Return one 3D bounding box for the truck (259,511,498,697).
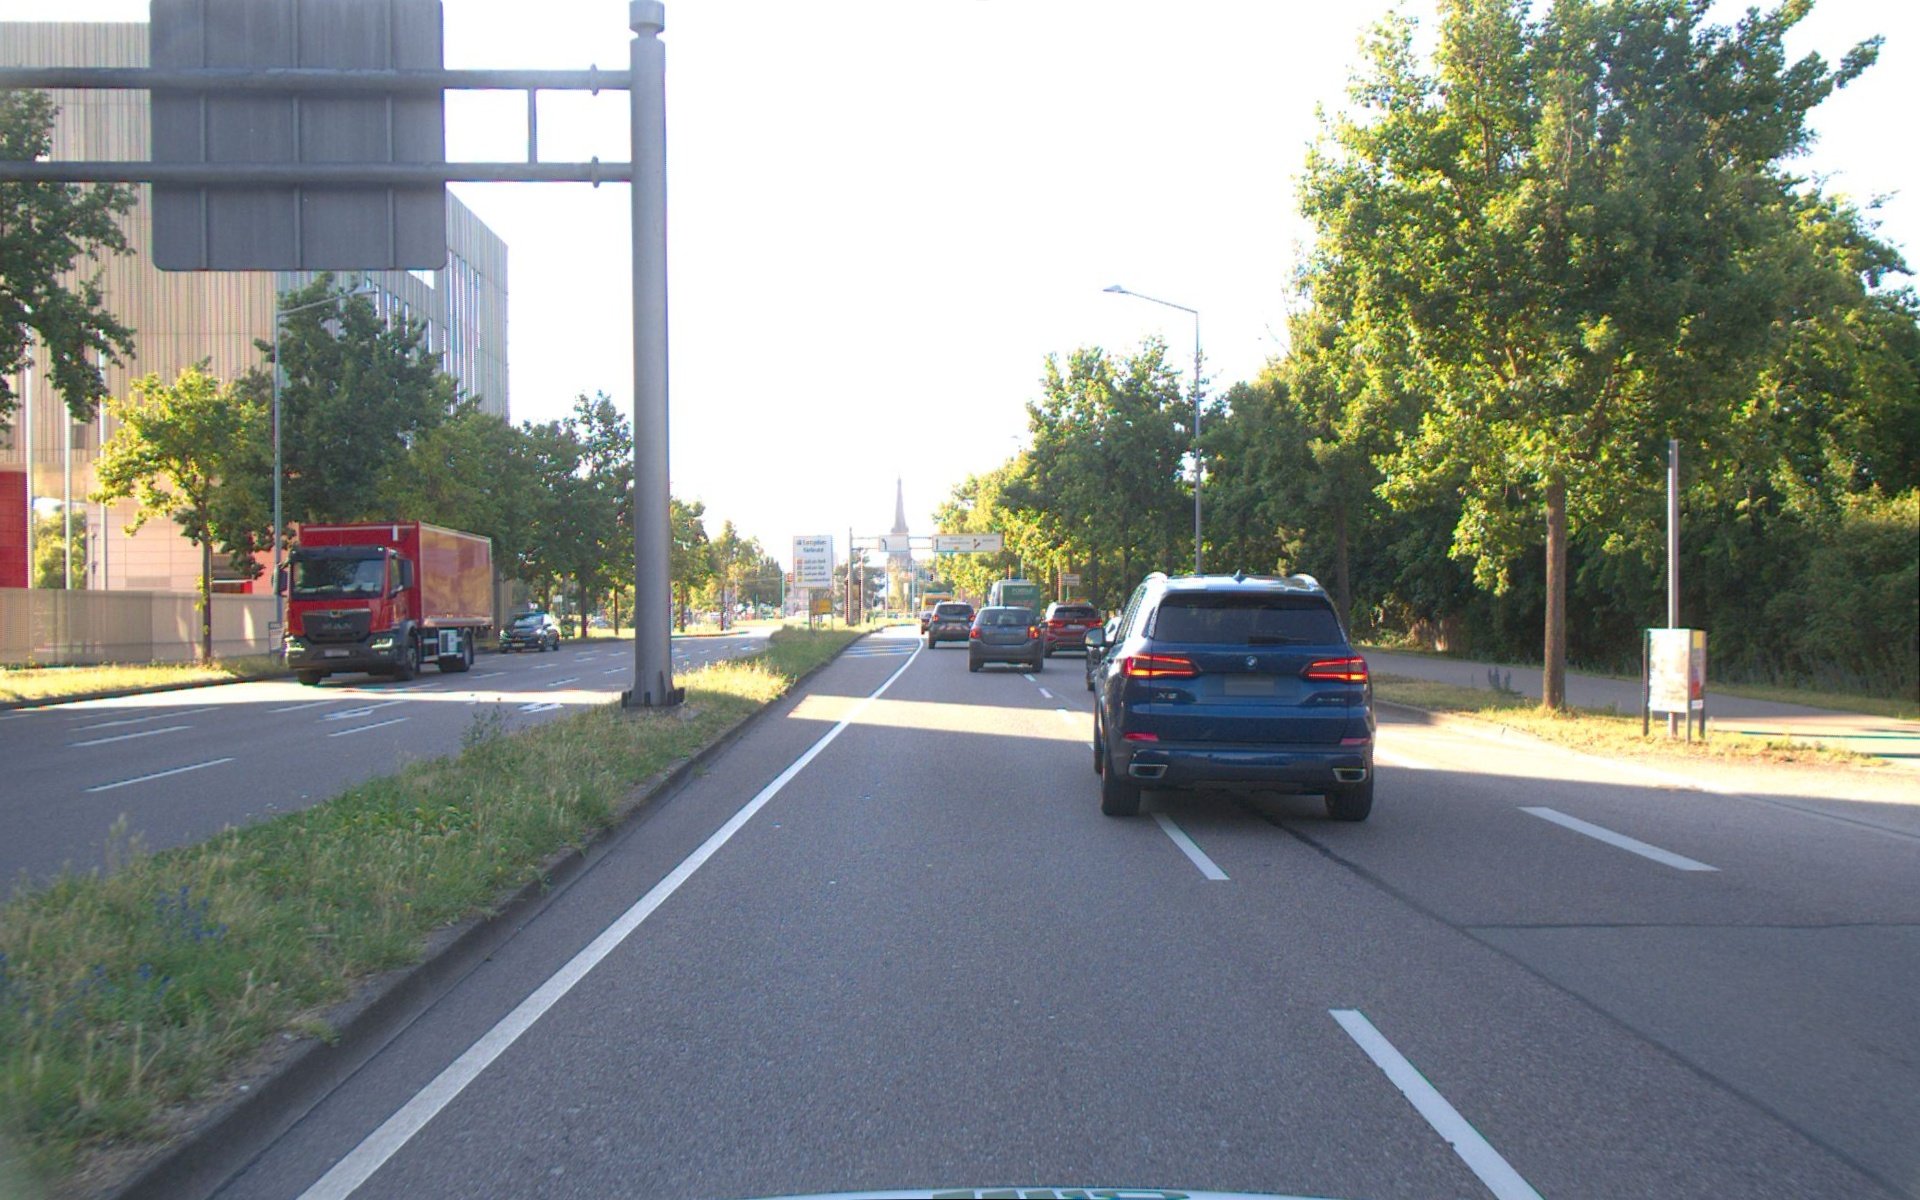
[{"bbox_3d":[-13.552,0.092,39.580,2.940,3.878,10.078,0,0,-5],"label":"truck"}]

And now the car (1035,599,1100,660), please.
[{"bbox_3d":[3.159,0.842,49.217,1.711,1.649,3.820,1,1,1],"label":"car"}]

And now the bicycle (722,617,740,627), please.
[{"bbox_3d":[-25.574,2.444,184.838,1.867,1.037,0.505,0,-1,13],"label":"bicycle"}]

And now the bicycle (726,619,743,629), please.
[{"bbox_3d":[-25.309,2.697,185.632,1.867,1.037,0.505,0,-1,9],"label":"bicycle"}]

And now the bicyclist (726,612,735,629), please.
[{"bbox_3d":[-25.637,2.303,184.841,0.795,1.802,0.497,0,-1,13],"label":"bicyclist"}]

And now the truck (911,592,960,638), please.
[{"bbox_3d":[-1.511,0.866,98.732,2.530,2.603,6.245,-1,0,-5],"label":"truck"}]

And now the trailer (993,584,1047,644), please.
[{"bbox_3d":[2.523,0.598,70.147,2.048,2.443,3.499,1,-1,-2],"label":"trailer"}]

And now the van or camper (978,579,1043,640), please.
[{"bbox_3d":[2.264,0.439,76.145,2.240,2.675,6.576,1,0,-5],"label":"van or camper"}]

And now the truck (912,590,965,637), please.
[{"bbox_3d":[-1.215,0.779,97.827,2.172,2.697,4.777,-1,0,11],"label":"truck"}]

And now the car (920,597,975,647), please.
[{"bbox_3d":[-0.450,0.779,59.041,1.866,1.689,3.999,-1,-1,-1],"label":"car"}]

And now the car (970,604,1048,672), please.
[{"bbox_3d":[1.125,0.861,38.759,1.711,1.499,3.820,-1,0,1],"label":"car"}]

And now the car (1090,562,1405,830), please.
[{"bbox_3d":[2.091,0.675,13.324,1.914,1.757,4.700,0,-1,3],"label":"car"}]

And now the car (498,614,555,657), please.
[{"bbox_3d":[-16.588,1.331,63.456,1.565,1.539,3.861,0,0,-7],"label":"car"}]
